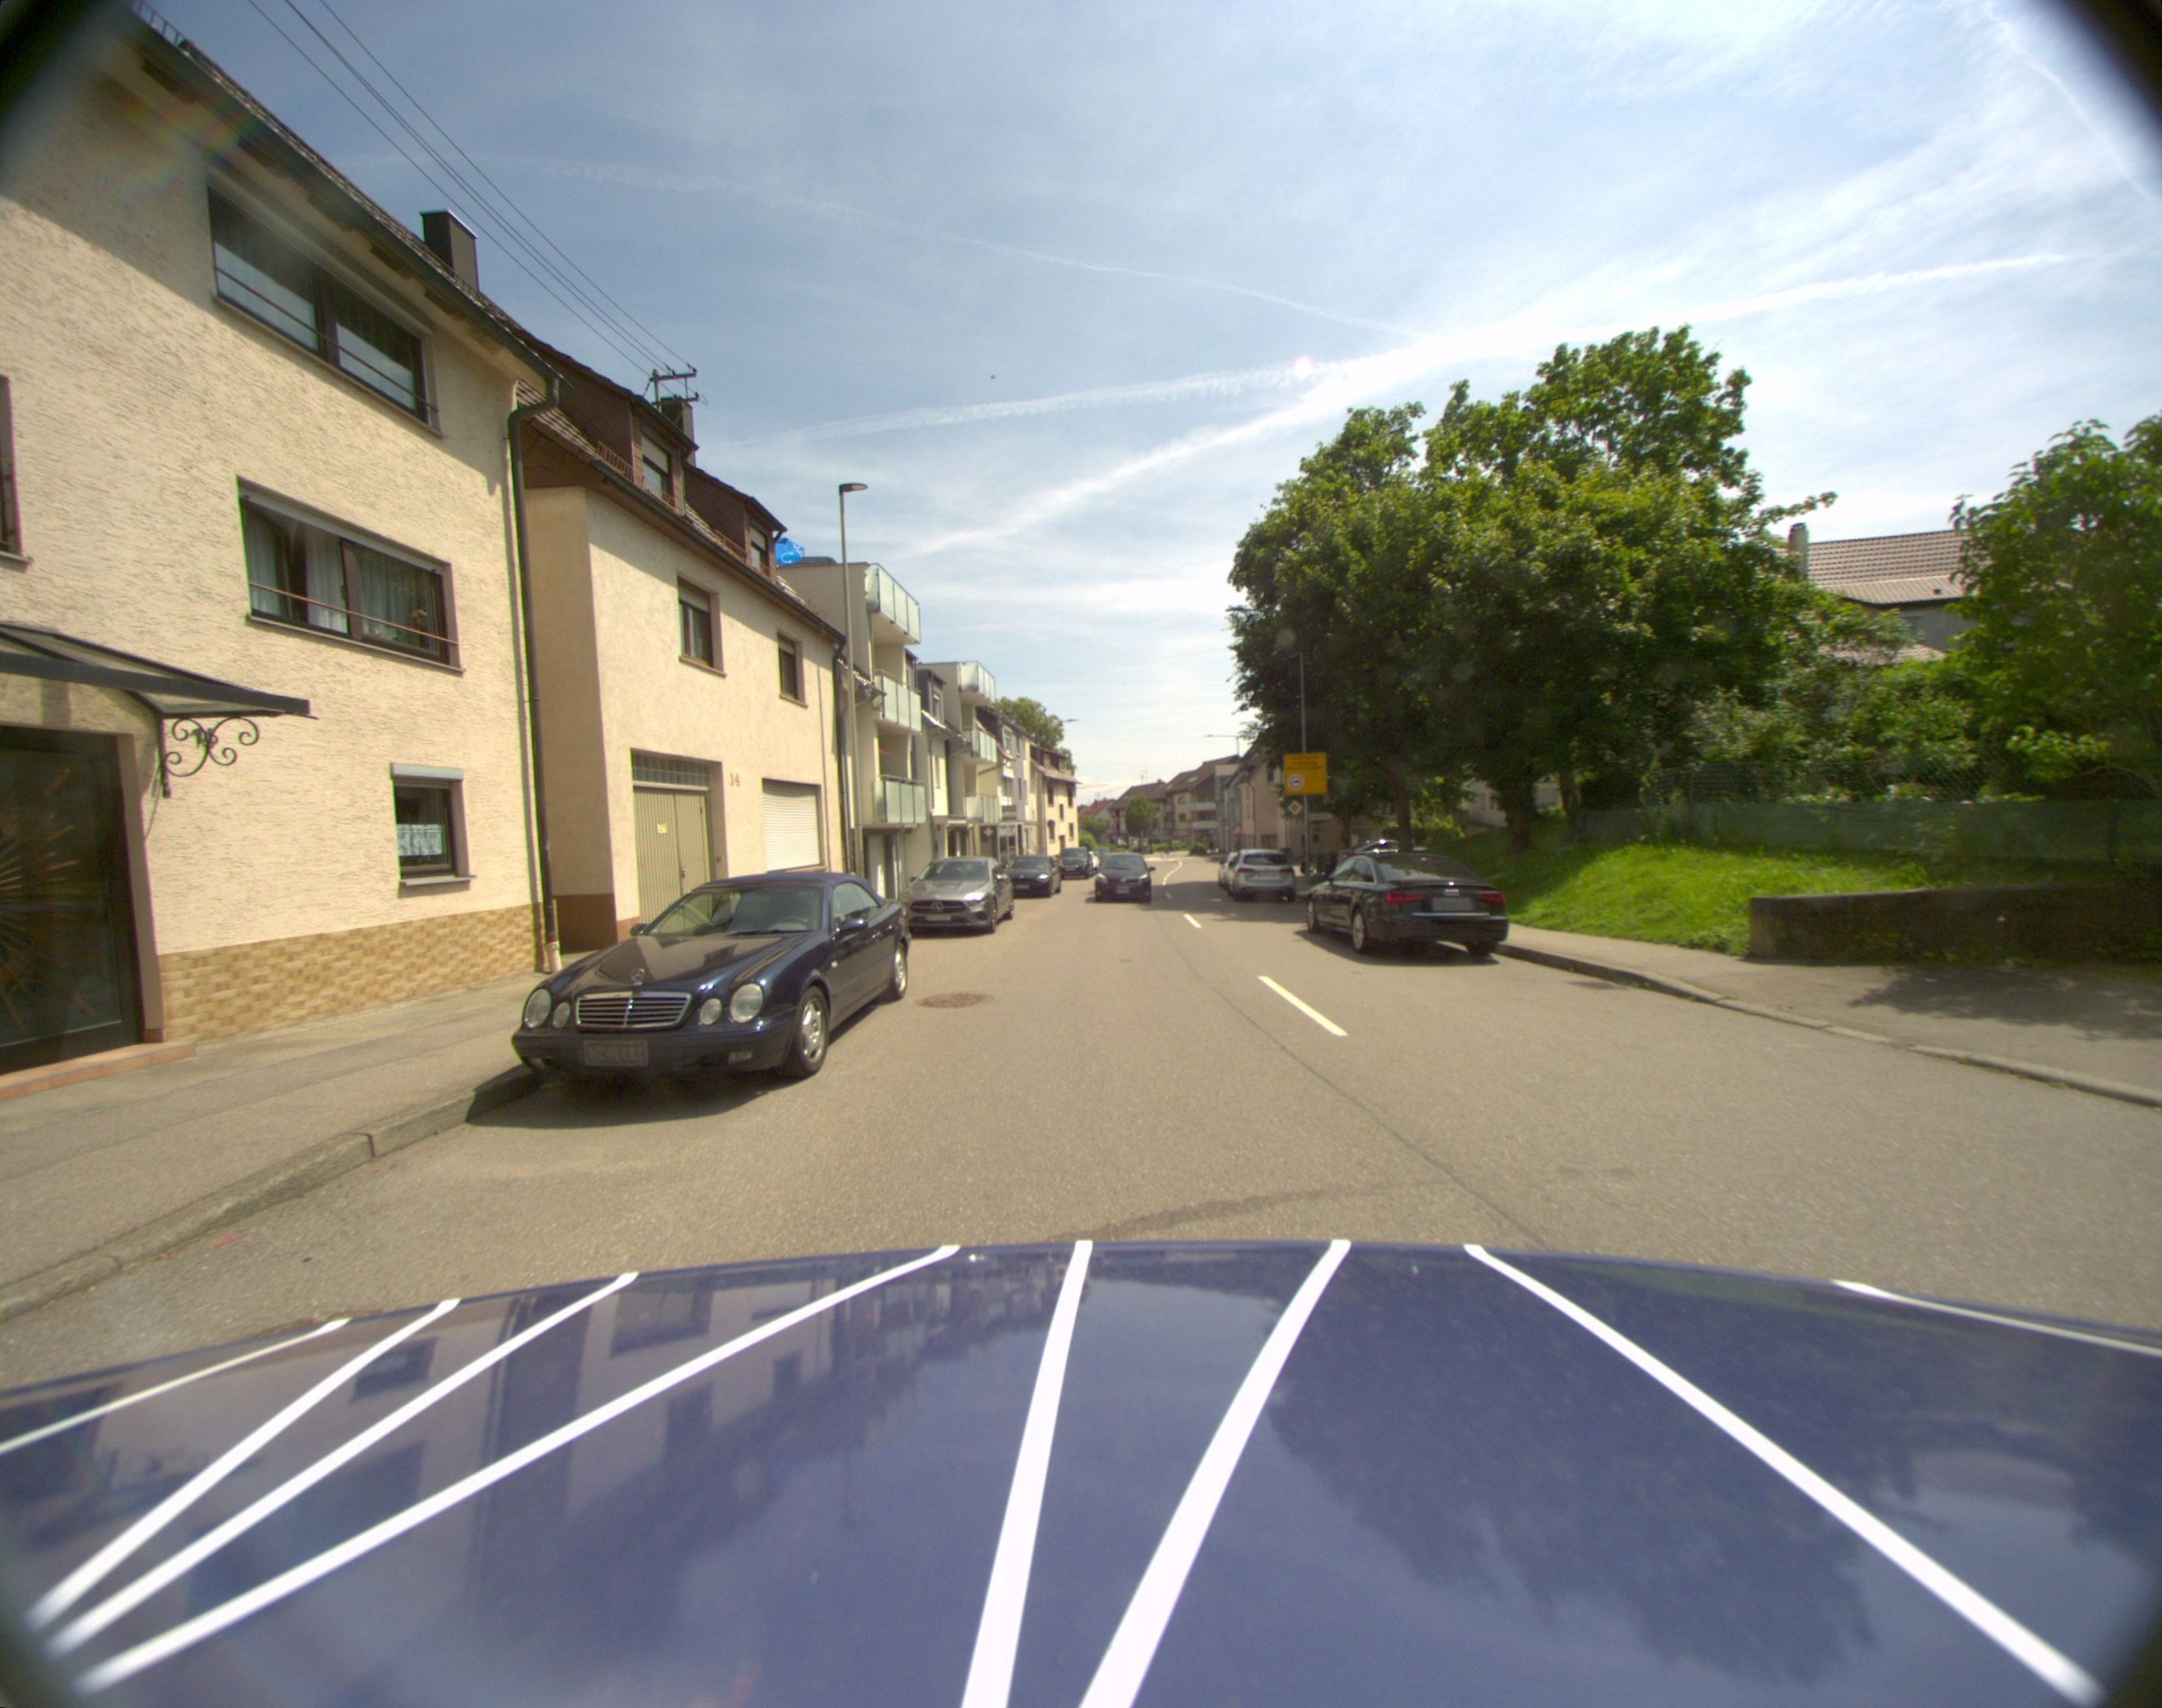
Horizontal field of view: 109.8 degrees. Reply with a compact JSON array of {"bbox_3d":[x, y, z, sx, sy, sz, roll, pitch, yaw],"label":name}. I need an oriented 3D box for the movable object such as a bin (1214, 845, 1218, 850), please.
[{"bbox_3d":[16.705,-0.792,94.103,0.459,0.578,0.468,-3,2,-2],"label":"movable object such as a bin"}]

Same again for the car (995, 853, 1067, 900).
[{"bbox_3d":[-1.644,0.713,26.407,1.801,1.416,4.291,-1,1,6],"label":"car"}]

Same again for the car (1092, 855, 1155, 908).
[{"bbox_3d":[1.251,0.779,23.727,1.725,1.448,4.429,0,0,0],"label":"car"}]

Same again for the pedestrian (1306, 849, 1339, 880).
[{"bbox_3d":[10.388,0.457,32.747,1.238,1.262,0.647,-3,2,11],"label":"pedestrian"}]

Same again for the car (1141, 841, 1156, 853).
[{"bbox_3d":[9.895,-1.033,112.122,1.756,1.575,3.944,-3,1,0],"label":"car"}]

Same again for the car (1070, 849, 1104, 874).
[{"bbox_3d":[0.423,0.426,48.513,1.792,1.447,4.717,-2,1,5],"label":"car"}]

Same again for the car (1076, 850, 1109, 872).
[{"bbox_3d":[0.871,0.500,54.551,1.792,1.412,4.360,-2,1,7],"label":"car"}]

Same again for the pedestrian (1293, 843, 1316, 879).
[{"bbox_3d":[10.235,0.328,34.770,0.733,1.607,0.628,-3,2,-13],"label":"pedestrian"}]

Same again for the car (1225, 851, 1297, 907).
[{"bbox_3d":[5.506,0.699,23.699,1.776,1.518,4.223,0,1,8],"label":"car"}]

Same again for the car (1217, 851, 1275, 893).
[{"bbox_3d":[6.359,0.642,29.728,1.758,1.458,4.364,0,1,6],"label":"car"}]

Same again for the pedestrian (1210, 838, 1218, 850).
[{"bbox_3d":[16.522,-1.261,94.446,0.802,1.470,0.957,-3,2,-1],"label":"pedestrian"}]

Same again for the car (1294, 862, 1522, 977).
[{"bbox_3d":[4.869,0.865,12.190,1.808,1.415,4.929,-1,0,4],"label":"car"}]

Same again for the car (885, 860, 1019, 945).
[{"bbox_3d":[-2.428,0.864,15.431,1.798,1.395,4.412,-1,1,2],"label":"car"}]

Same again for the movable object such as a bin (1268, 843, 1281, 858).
[{"bbox_3d":[14.206,-0.276,55.792,0.802,0.994,0.805,-4,1,9],"label":"movable object such as a bin"}]

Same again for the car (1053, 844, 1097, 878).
[{"bbox_3d":[-0.278,0.350,42.678,1.958,1.706,4.717,-2,1,5],"label":"car"}]

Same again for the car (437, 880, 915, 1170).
[{"bbox_3d":[-2.664,1.003,6.248,1.670,1.345,4.186,-2,1,-1],"label":"car"}]

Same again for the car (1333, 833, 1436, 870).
[{"bbox_3d":[16.287,-0.139,40.858,4.791,1.471,1.998,-6,2,-12],"label":"car"}]

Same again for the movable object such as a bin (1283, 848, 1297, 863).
[{"bbox_3d":[14.537,0.098,52.803,0.773,0.995,0.609,-6,3,10],"label":"movable object such as a bin"}]

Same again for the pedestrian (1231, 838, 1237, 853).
[{"bbox_3d":[16.867,-0.940,83.783,0.576,1.699,0.579,-4,2,8],"label":"pedestrian"}]

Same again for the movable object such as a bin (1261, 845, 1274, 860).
[{"bbox_3d":[13.619,-0.110,55.580,0.853,0.995,0.694,-2,2,9],"label":"movable object such as a bin"}]
